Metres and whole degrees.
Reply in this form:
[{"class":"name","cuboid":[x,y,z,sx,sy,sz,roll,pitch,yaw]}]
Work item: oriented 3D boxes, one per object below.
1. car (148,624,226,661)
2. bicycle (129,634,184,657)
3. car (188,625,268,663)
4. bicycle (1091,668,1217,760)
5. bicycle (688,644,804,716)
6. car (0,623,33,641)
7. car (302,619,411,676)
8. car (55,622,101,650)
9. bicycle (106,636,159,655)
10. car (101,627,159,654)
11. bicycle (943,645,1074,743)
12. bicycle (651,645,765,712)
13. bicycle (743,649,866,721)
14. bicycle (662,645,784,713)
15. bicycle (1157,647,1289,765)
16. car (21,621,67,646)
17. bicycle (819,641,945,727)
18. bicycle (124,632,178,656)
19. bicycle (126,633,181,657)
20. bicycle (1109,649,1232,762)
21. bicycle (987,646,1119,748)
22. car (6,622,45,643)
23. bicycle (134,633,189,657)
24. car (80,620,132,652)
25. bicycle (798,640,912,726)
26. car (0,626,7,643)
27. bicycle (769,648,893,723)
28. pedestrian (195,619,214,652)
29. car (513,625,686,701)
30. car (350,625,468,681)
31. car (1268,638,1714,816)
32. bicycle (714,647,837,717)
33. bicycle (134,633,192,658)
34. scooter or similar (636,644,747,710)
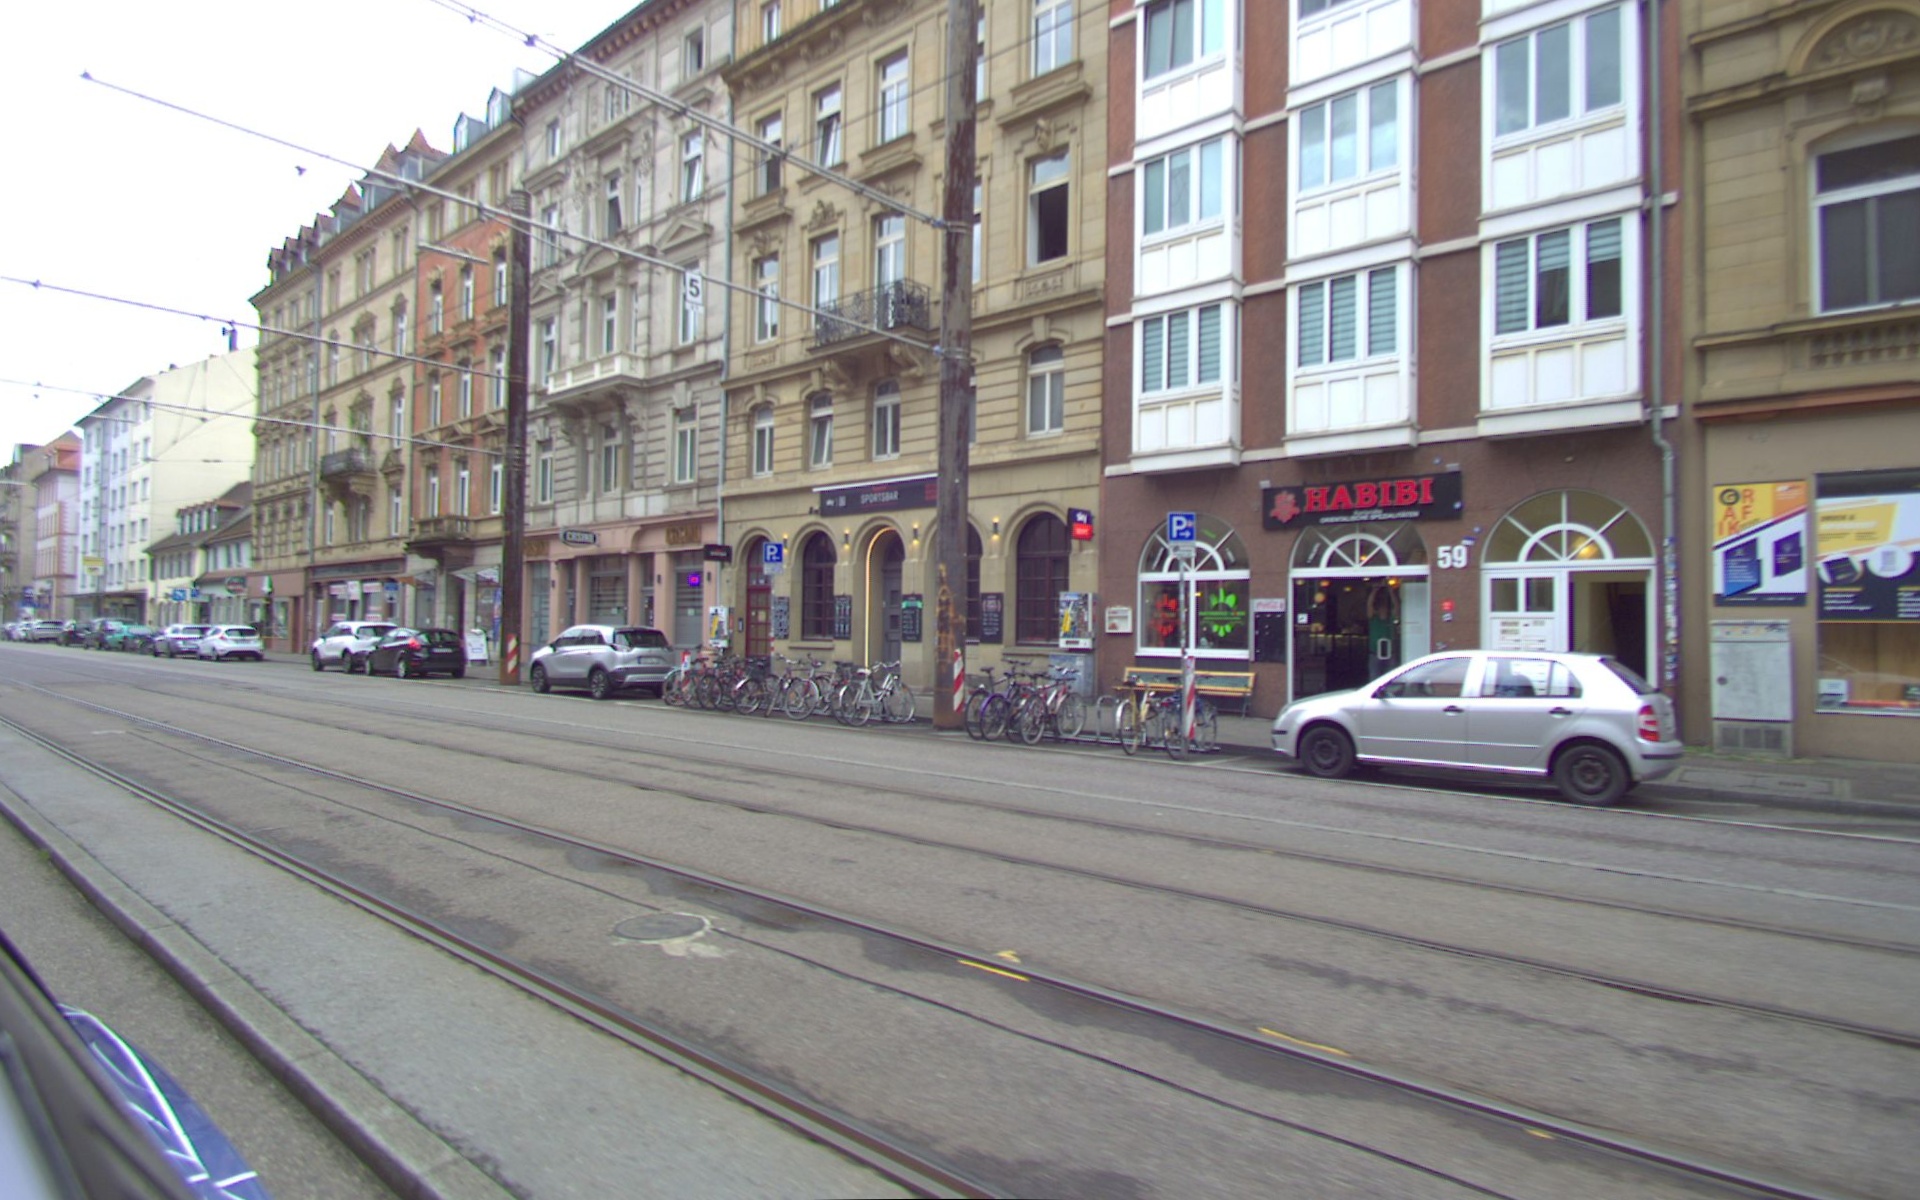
[{"class":"car","cuboid":[-34.140,1.882,44.665,4.542,1.533,1.805,-2,-4,41]},{"class":"bicycle","cuboid":[-39.067,2.205,49.230,0.556,1.106,2.017,-1,-1,41]},{"class":"car","cuboid":[-30.354,1.813,41.925,4.043,1.476,1.726,-1,-4,40]},{"class":"bicycle","cuboid":[2.625,1.464,13.469,0.619,1.049,2.258,-1,-2,41]},{"class":"bicycle","cuboid":[-3.981,1.460,18.981,0.540,1.212,2.258,1,0,41]},{"class":"car","cuboid":[-74.426,2.496,79.691,3.244,1.354,1.711,-1,-1,40]},{"class":"car","cuboid":[-19.363,1.505,32.413,4.043,1.685,1.726,-1,-4,40]},{"class":"car","cuboid":[-56.027,2.262,64.266,4.180,1.684,1.682,-1,-1,42]},{"class":"bicycle","cuboid":[-41.711,2.277,51.036,0.557,0.940,2.017,-1,-1,42]},{"class":"car","cuboid":[-44.826,2.186,54.638,3.431,1.391,1.631,-1,-4,38]},{"class":"bicycle","cuboid":[0.758,1.374,14.988,0.666,1.339,2.258,-1,-4,41]},{"class":"bicycle","cuboid":[-4.928,1.510,19.948,0.547,1.212,2.258,-1,-2,41]},{"class":"bicycle","cuboid":[-2.761,1.524,18.239,0.666,1.212,2.258,-1,-4,41]},{"class":"bicycle","cuboid":[-4.503,1.524,19.390,0.704,1.212,2.258,-1,-5,41]},{"class":"bicycle","cuboid":[3.343,1.303,12.691,0.666,1.339,2.258,-1,-4,41]},{"class":"car","cuboid":[-64.694,2.340,71.465,3.824,1.745,1.904,-1,-1,40]},{"class":"bicycle","cuboid":[-1.266,1.398,16.965,0.666,1.339,2.258,-1,-4,41]},{"class":"bicycle","cuboid":[-39.986,2.170,50.053,0.556,1.106,2.017,-1,-1,41]},{"class":"bicycle","cuboid":[-39.531,2.207,49.633,0.556,1.106,2.017,-1,-1,41]},{"class":"bicycle","cuboid":[2.783,1.352,13.175,0.521,1.339,2.258,-1,-5,41]},{"class":"bicycle","cuboid":[1.377,1.364,14.438,0.666,1.339,2.258,-1,-4,41]},{"class":"car","cuboid":[-69.846,2.418,75.619,3.824,1.462,1.711,-1,-1,40]},{"class":"bicycle","cuboid":[-38.531,2.183,48.842,0.556,1.106,2.017,-1,-1,41]},{"class":"car","cuboid":[-48.558,2.033,57.541,3.919,1.770,1.684,-1,-4,42]},{"class":"bicycle","cuboid":[-1.756,1.380,17.318,0.448,1.304,2.258,-1,-1,41]},{"class":"car","cuboid":[-87.955,3.072,91.667,3.998,1.574,1.843,-1,-4,41]},{"class":"bicycle","cuboid":[-2.219,1.500,17.775,0.666,1.212,2.258,-1,-4,41]},{"class":"pedestrian","cuboid":[-39.886,1.879,53.438,0.753,1.725,0.648,-1,-1,40]},{"class":"car","cuboid":[-8.108,1.363,22.616,4.222,1.545,1.726,-1,-4,40]},{"class":"car","cuboid":[-15.991,1.516,29.316,3.918,1.500,1.725,-1,-4,41]},{"class":"car","cuboid":[5.481,1.190,10.704,3.917,1.500,1.726,-1,-4,40]},{"class":"bicycle","cuboid":[-3.376,1.511,18.713,0.704,1.212,2.258,-1,-4,41]},{"class":"bicycle","cuboid":[-38.078,2.158,48.357,0.556,1.106,2.112,-1,-1,41]},{"class":"scooter or similar","cuboid":[-5.373,1.516,20.405,0.547,1.212,2.258,-1,-2,41]}]
